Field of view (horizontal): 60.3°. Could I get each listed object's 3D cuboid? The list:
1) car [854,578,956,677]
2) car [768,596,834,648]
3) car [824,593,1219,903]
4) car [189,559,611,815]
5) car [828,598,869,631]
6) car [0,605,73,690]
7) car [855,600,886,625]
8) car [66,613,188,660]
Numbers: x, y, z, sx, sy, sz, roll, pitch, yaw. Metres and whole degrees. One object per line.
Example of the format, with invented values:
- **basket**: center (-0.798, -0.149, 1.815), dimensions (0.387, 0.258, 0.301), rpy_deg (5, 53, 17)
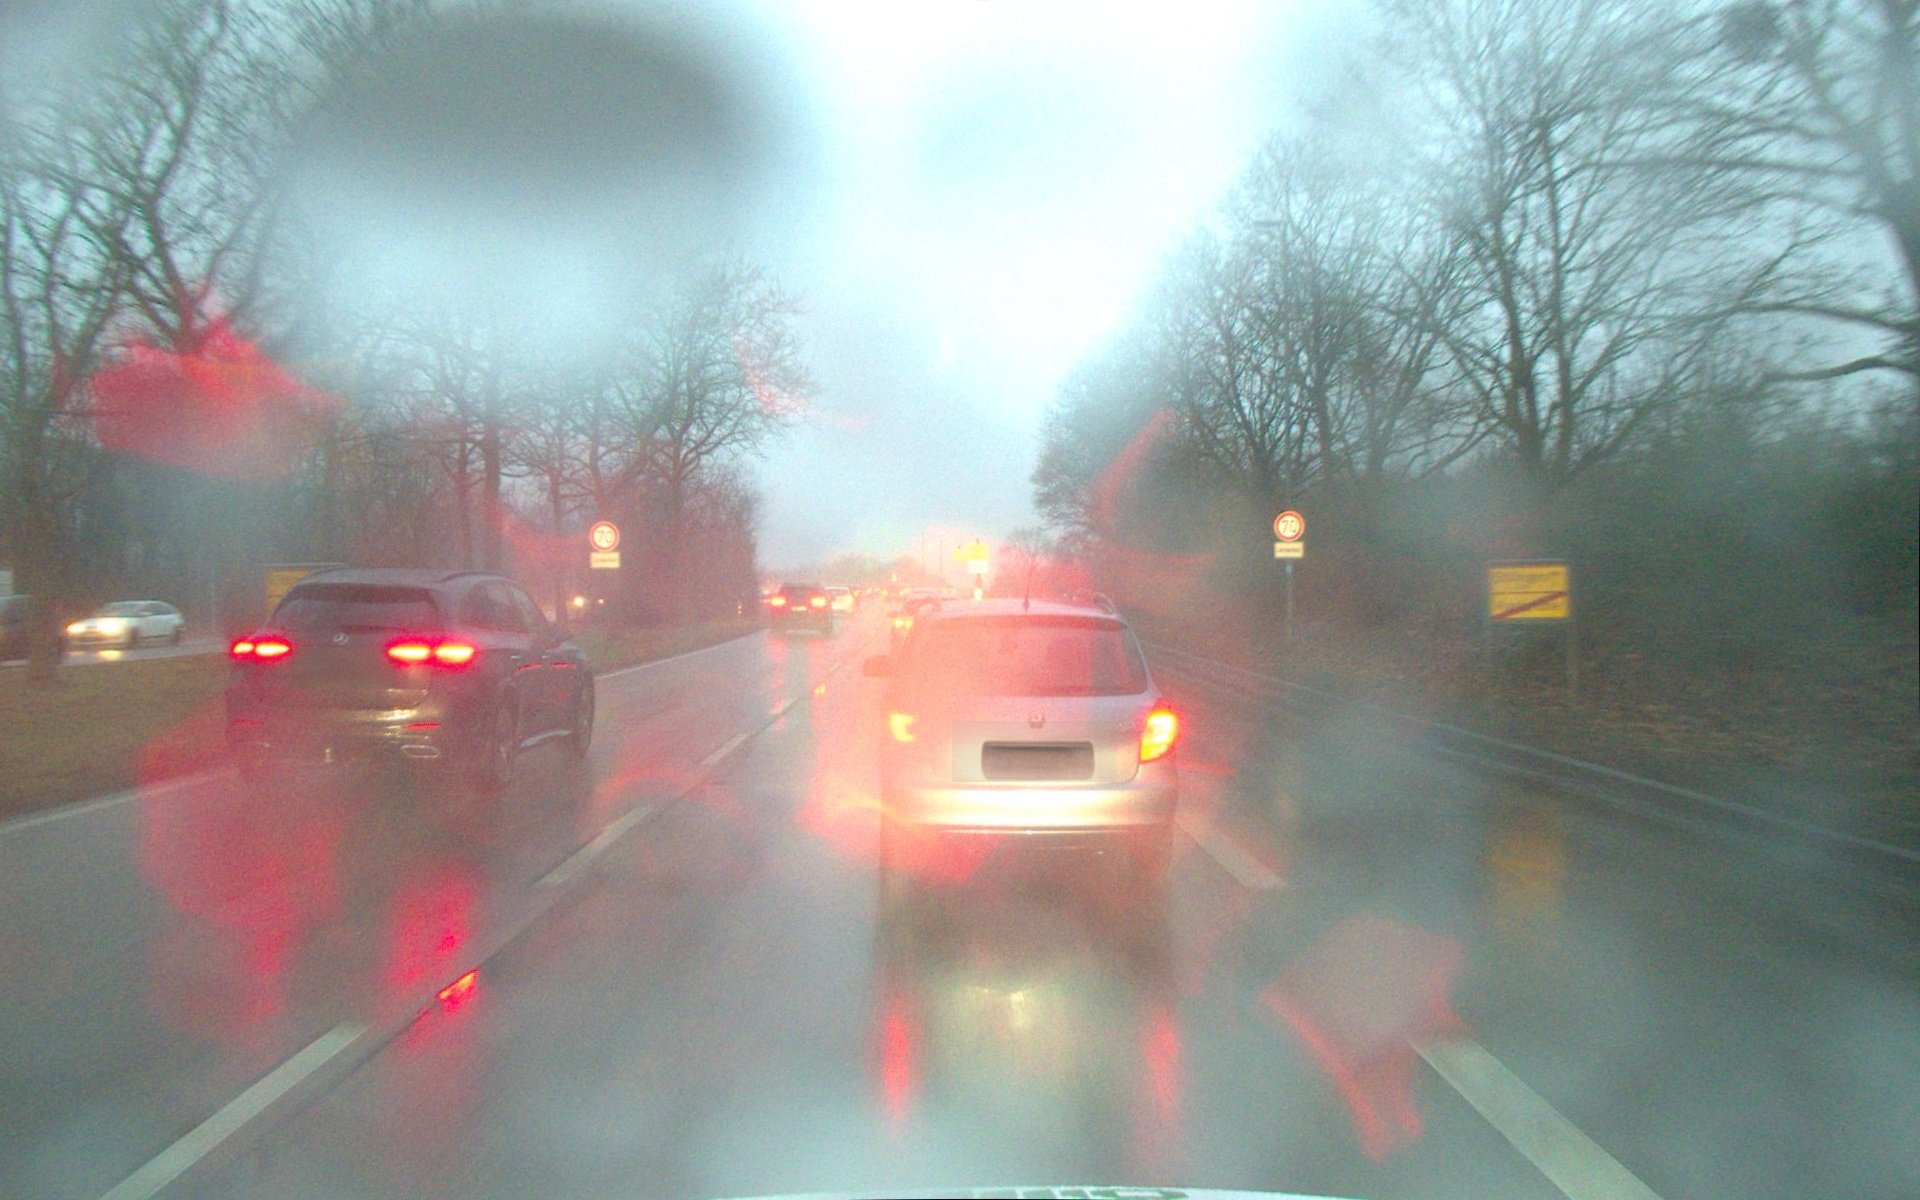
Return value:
- **car**: center (-1.040, 0.509, 32.624), dimensions (1.859, 1.798, 4.308), rpy_deg (-1, 0, -1)
- **car**: center (-5.068, 0.682, 53.105), dimensions (1.753, 1.572, 3.999), rpy_deg (-1, 0, -1)
- **car**: center (0.282, 0.745, 10.296), dimensions (1.953, 1.527, 4.137), rpy_deg (0, 0, -1)
- **car**: center (-4.111, 0.567, 12.965), dimensions (1.953, 1.629, 4.306), rpy_deg (1, 0, -2)
- **car**: center (-5.427, 0.700, 80.682), dimensions (1.753, 1.572, 3.999), rpy_deg (-1, 0, -1)
- **car**: center (-20.424, 0.977, 34.652), dimensions (1.584, 1.711, 3.980), rpy_deg (0, 0, -1)
- **car**: center (-5.536, 0.759, 102.606), dimensions (1.753, 1.509, 3.999), rpy_deg (-1, 0, -1)
- **car**: center (-26.357, 1.130, 52.500), dimensions (1.713, 1.419, 4.299), rpy_deg (0, 0, 0)
